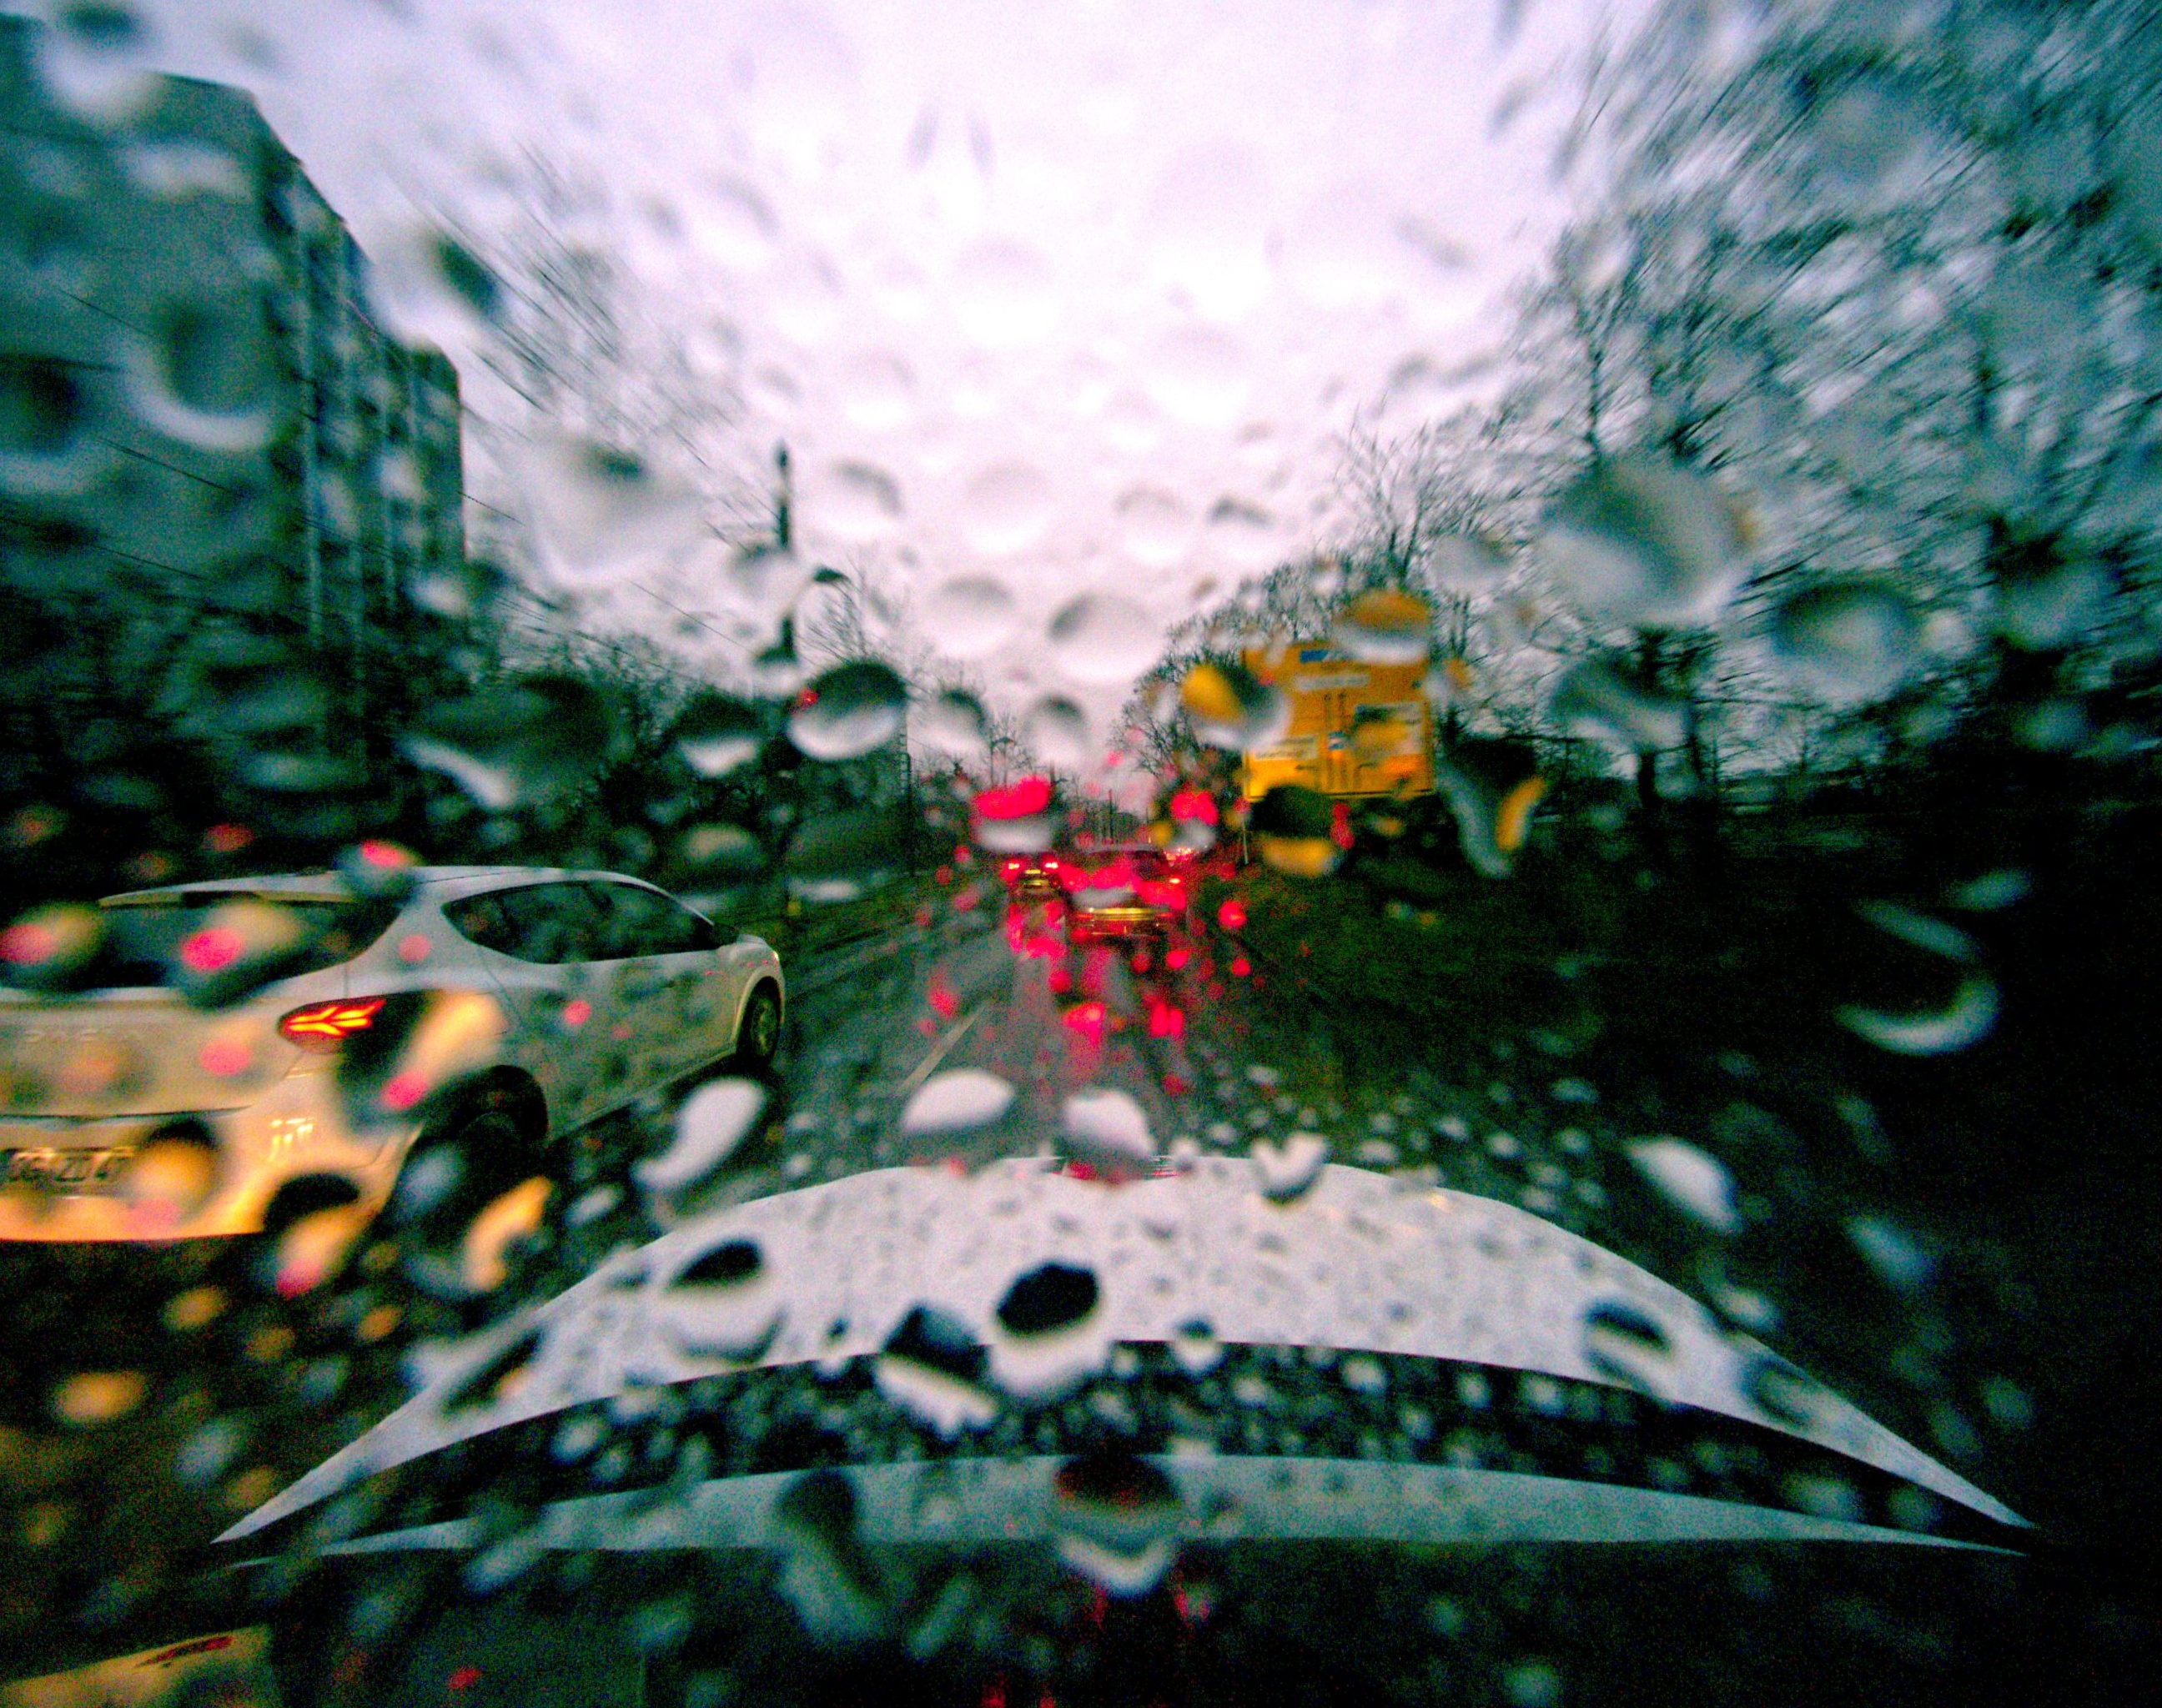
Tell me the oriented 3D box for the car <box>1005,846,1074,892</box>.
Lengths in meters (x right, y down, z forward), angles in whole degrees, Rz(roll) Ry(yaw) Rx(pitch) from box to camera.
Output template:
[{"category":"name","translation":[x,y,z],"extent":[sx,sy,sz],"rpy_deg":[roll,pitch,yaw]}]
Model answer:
[{"category":"car","translation":[-1.410,0.475,29.241],"extent":[1.871,1.459,4.006],"rpy_deg":[-2,1,5]}]

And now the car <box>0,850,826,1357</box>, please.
[{"category":"car","translation":[-3.073,0.768,4.565],"extent":[1.701,1.525,4.139],"rpy_deg":[-2,0,4]}]

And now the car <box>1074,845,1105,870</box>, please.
[{"category":"car","translation":[0.617,0.200,55.094],"extent":[1.872,1.593,4.004],"rpy_deg":[-2,1,4]}]

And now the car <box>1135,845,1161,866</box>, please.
[{"category":"car","translation":[5.210,0.110,63.151],"extent":[1.698,1.558,4.006],"rpy_deg":[-2,0,9]}]

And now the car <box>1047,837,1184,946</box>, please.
[{"category":"car","translation":[0.597,0.529,14.065],"extent":[1.990,1.584,4.003],"rpy_deg":[-1,1,2]}]
